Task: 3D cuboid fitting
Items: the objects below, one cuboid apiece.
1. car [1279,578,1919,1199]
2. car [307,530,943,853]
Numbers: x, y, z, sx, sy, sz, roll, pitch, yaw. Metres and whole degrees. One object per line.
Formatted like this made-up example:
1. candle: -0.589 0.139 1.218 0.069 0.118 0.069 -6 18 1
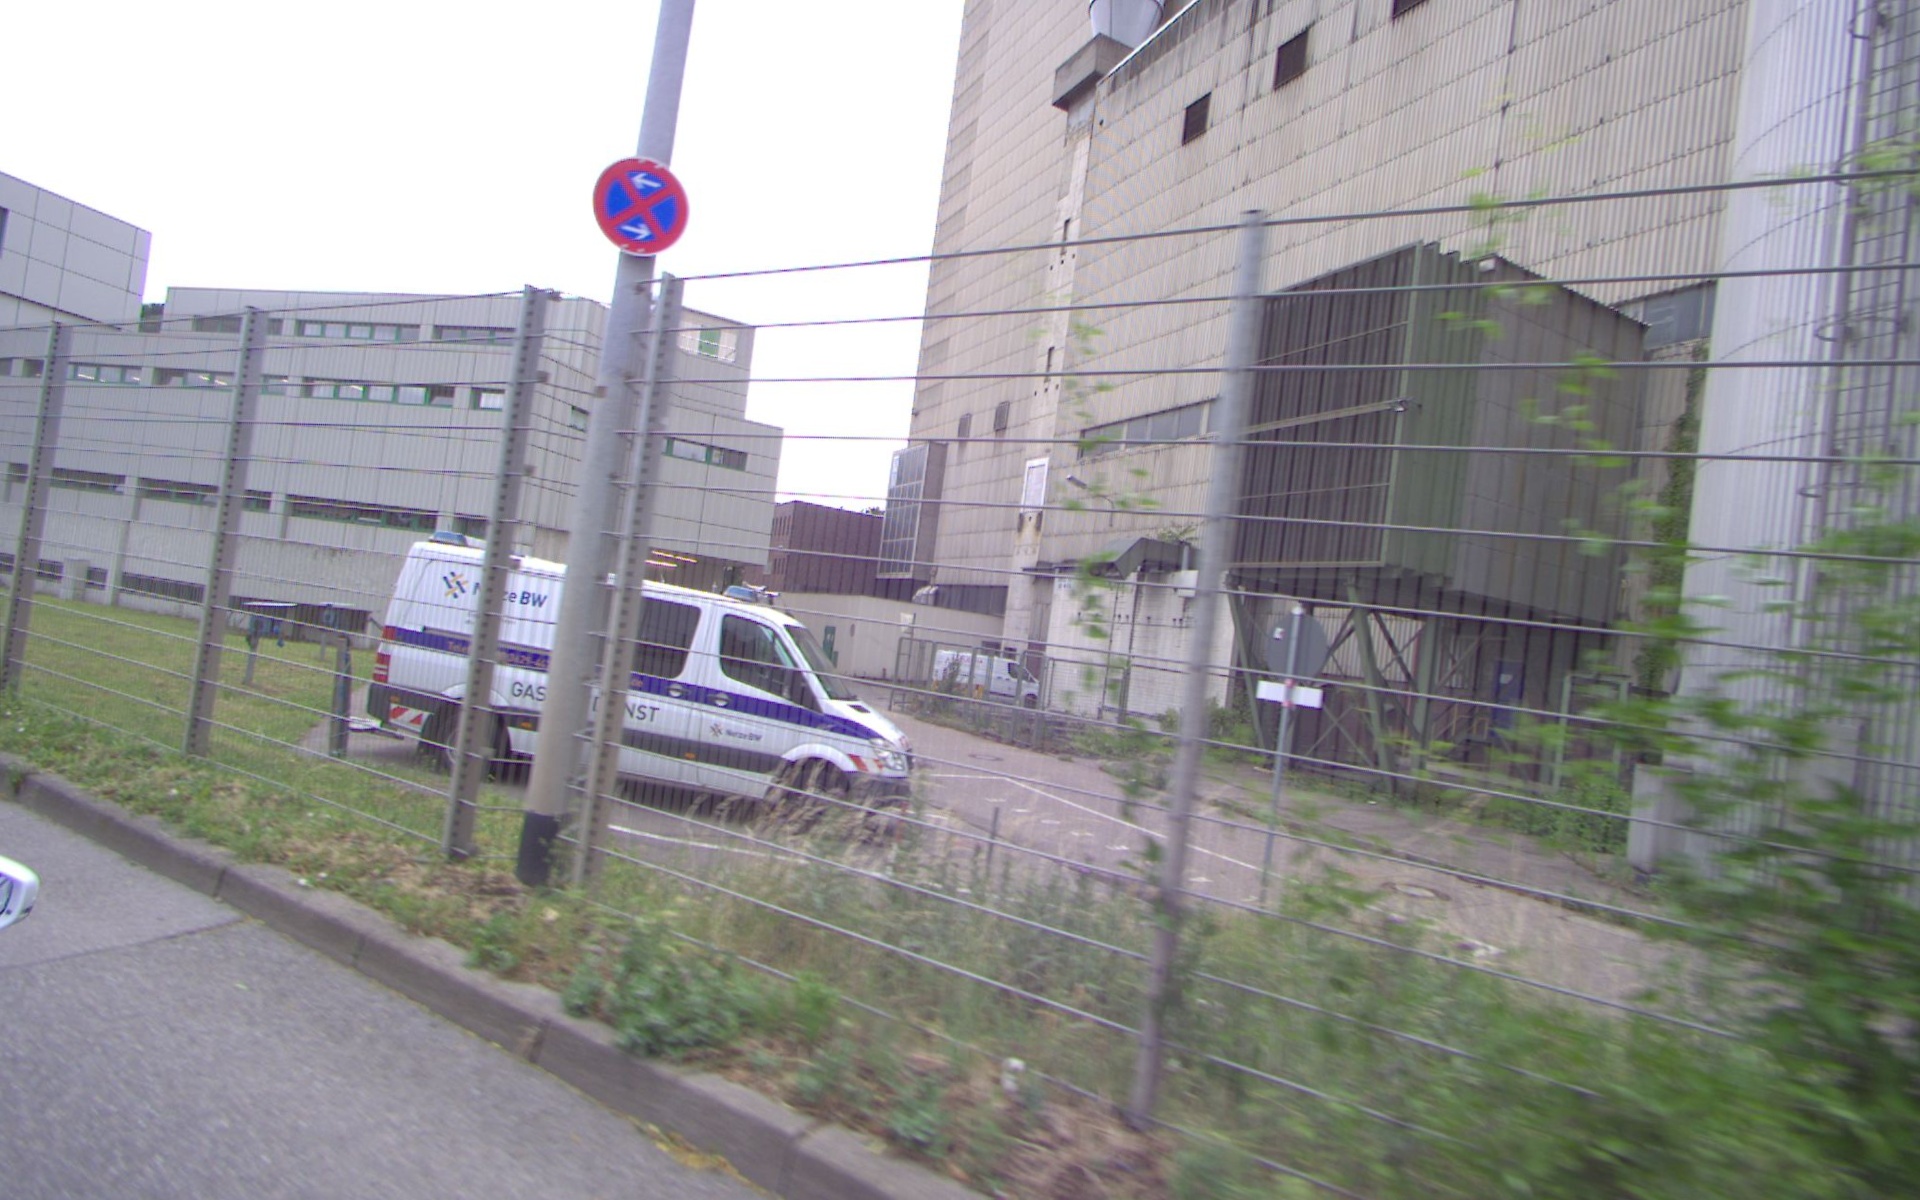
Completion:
1. car: 4.022 1.181 3.902 4.774 2.036 1.995 5 -3 38
2. car: -3.360 0.971 11.095 6.058 2.287 2.002 9 -2 0
